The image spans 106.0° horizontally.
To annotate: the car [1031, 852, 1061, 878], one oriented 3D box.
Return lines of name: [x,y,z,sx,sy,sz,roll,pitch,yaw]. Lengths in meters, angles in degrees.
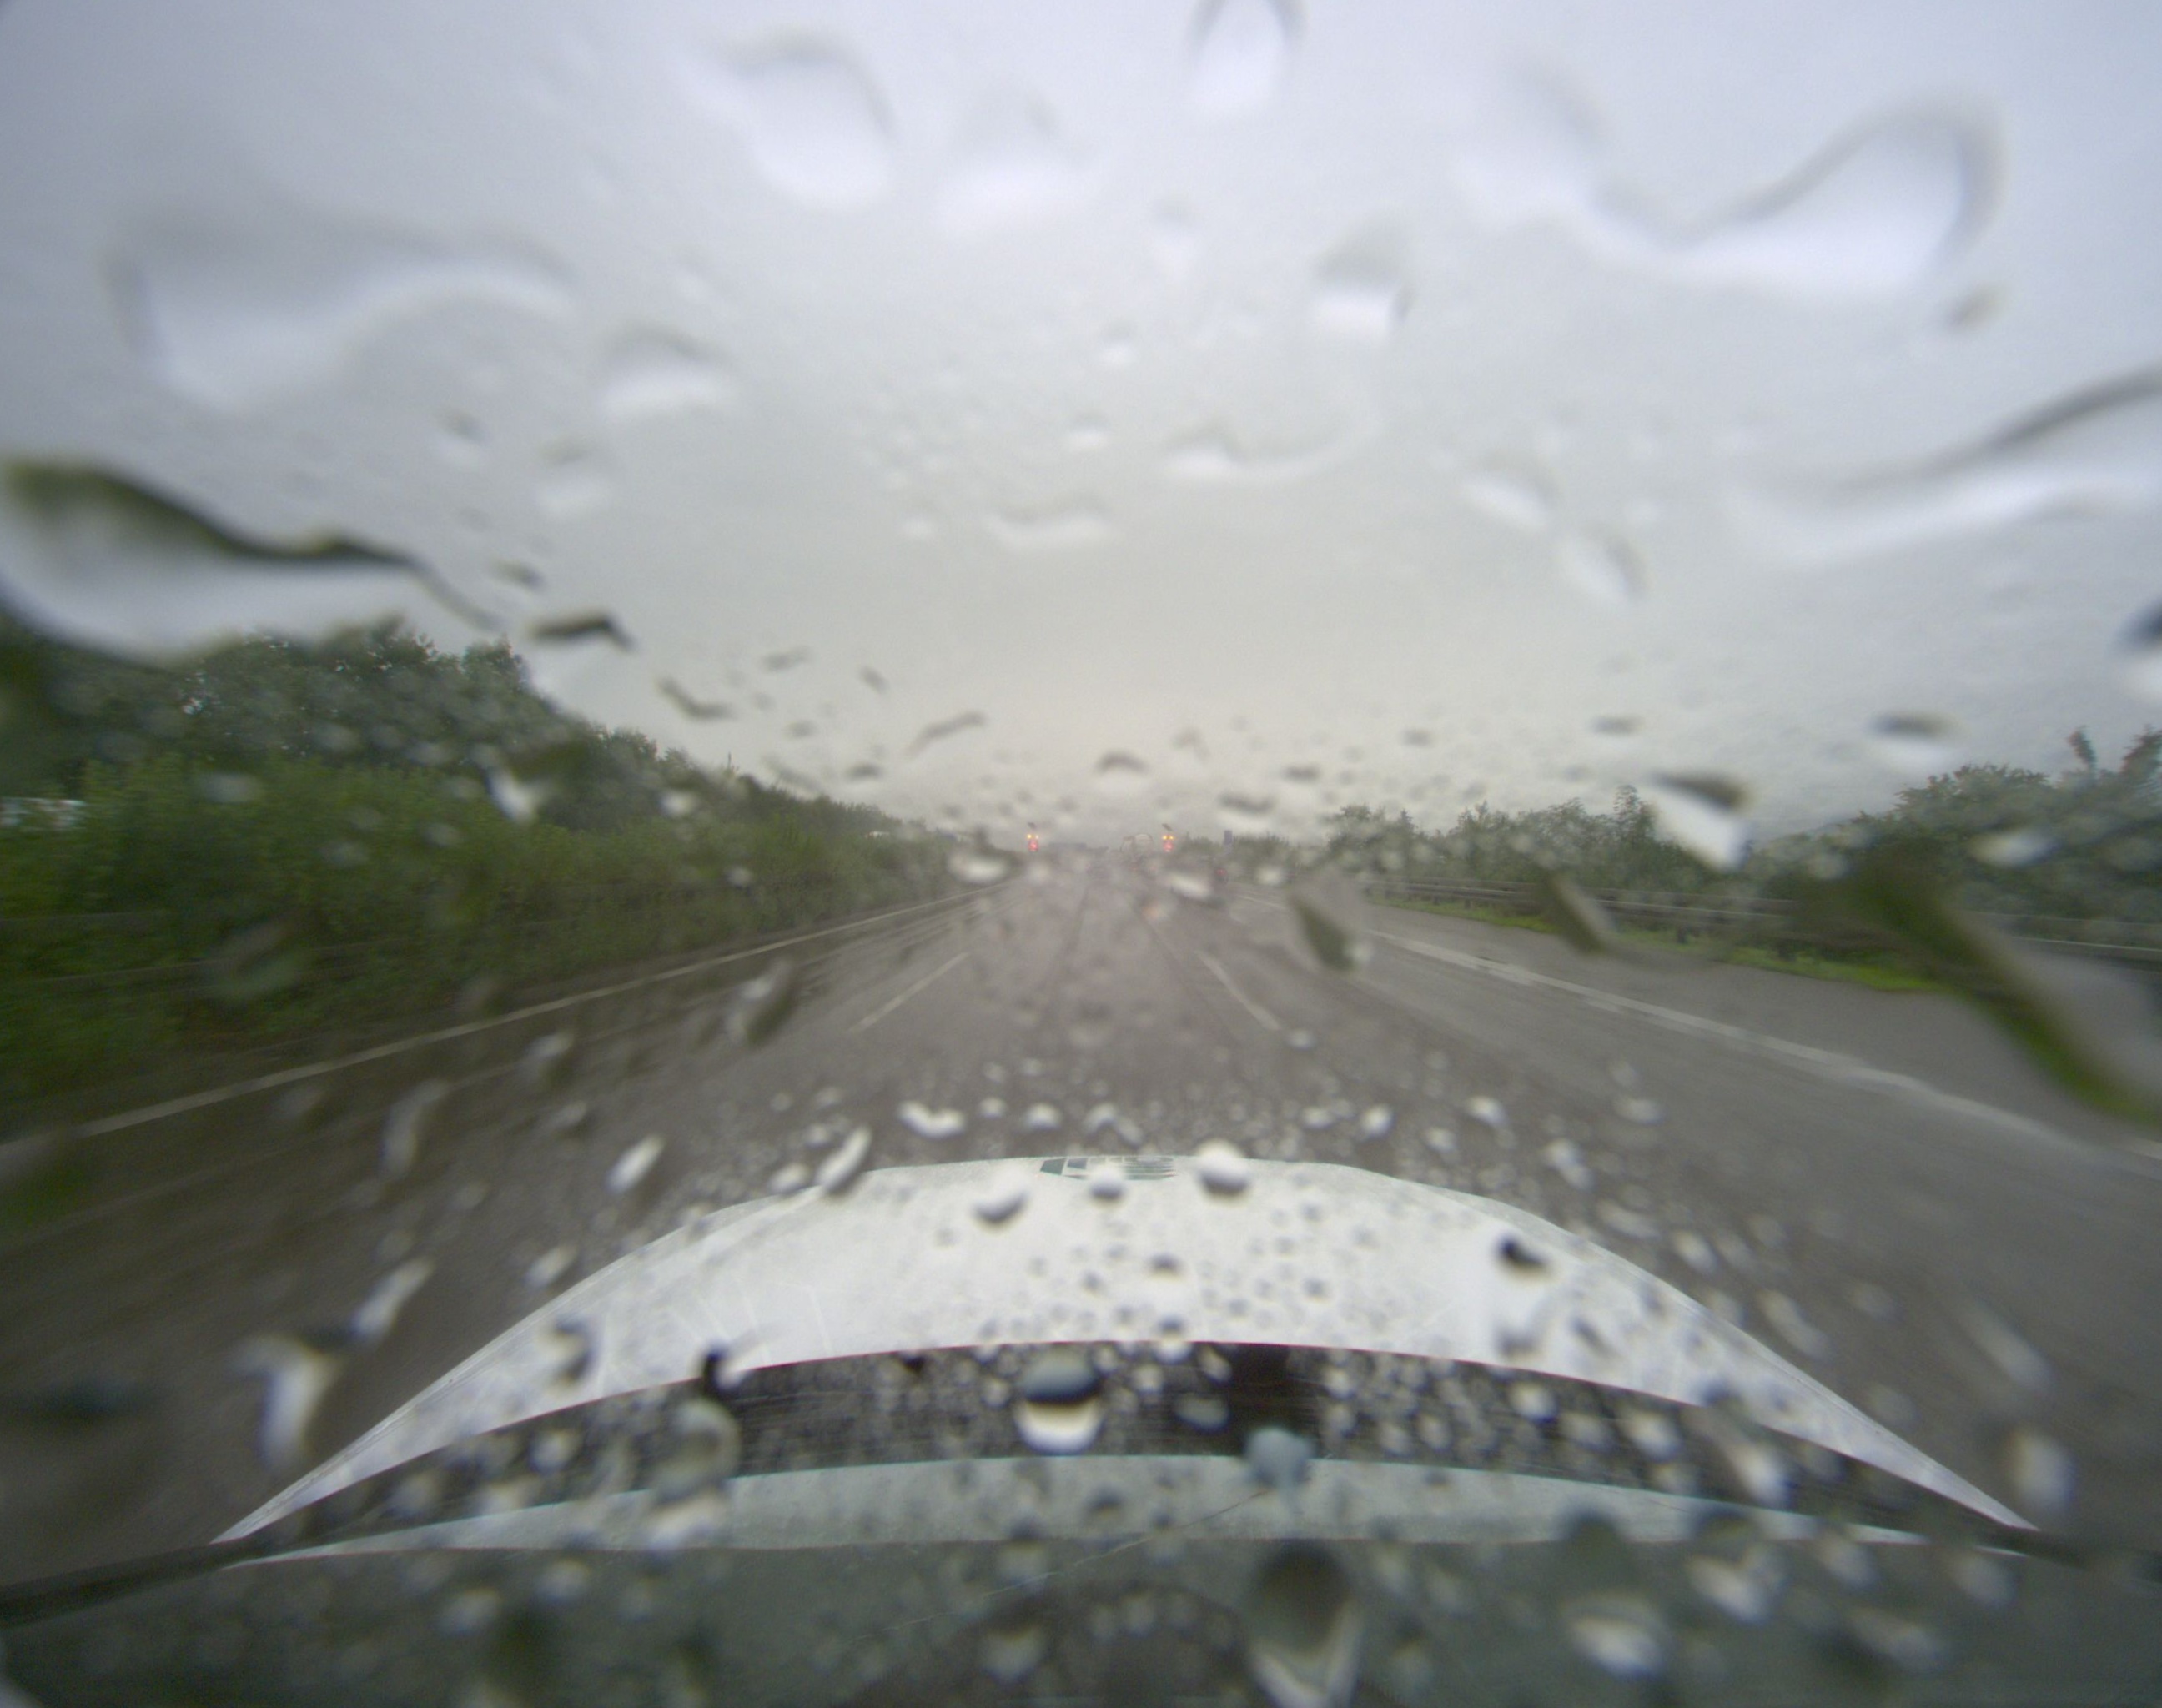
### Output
car: [-2.452,0.774,58.064,1.918,1.741,4.404,0,0,1]

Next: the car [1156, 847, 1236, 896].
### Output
car: [4.370,0.647,31.913,2.448,1.746,5.720,0,0,1]

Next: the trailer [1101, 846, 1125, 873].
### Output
trailer: [4.814,0.853,123.215,2.997,3.848,8.615,-1,-1,-2]

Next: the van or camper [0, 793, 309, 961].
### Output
van or camper: [-16.602,0.334,13.276,2.276,2.409,5.894,0,0,2]

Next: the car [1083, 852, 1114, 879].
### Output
car: [1.166,0.737,53.950,1.971,1.756,4.482,0,0,1]

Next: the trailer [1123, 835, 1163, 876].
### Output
trailer: [5.903,0.183,79.373,3.177,3.670,11.669,-1,0,1]
